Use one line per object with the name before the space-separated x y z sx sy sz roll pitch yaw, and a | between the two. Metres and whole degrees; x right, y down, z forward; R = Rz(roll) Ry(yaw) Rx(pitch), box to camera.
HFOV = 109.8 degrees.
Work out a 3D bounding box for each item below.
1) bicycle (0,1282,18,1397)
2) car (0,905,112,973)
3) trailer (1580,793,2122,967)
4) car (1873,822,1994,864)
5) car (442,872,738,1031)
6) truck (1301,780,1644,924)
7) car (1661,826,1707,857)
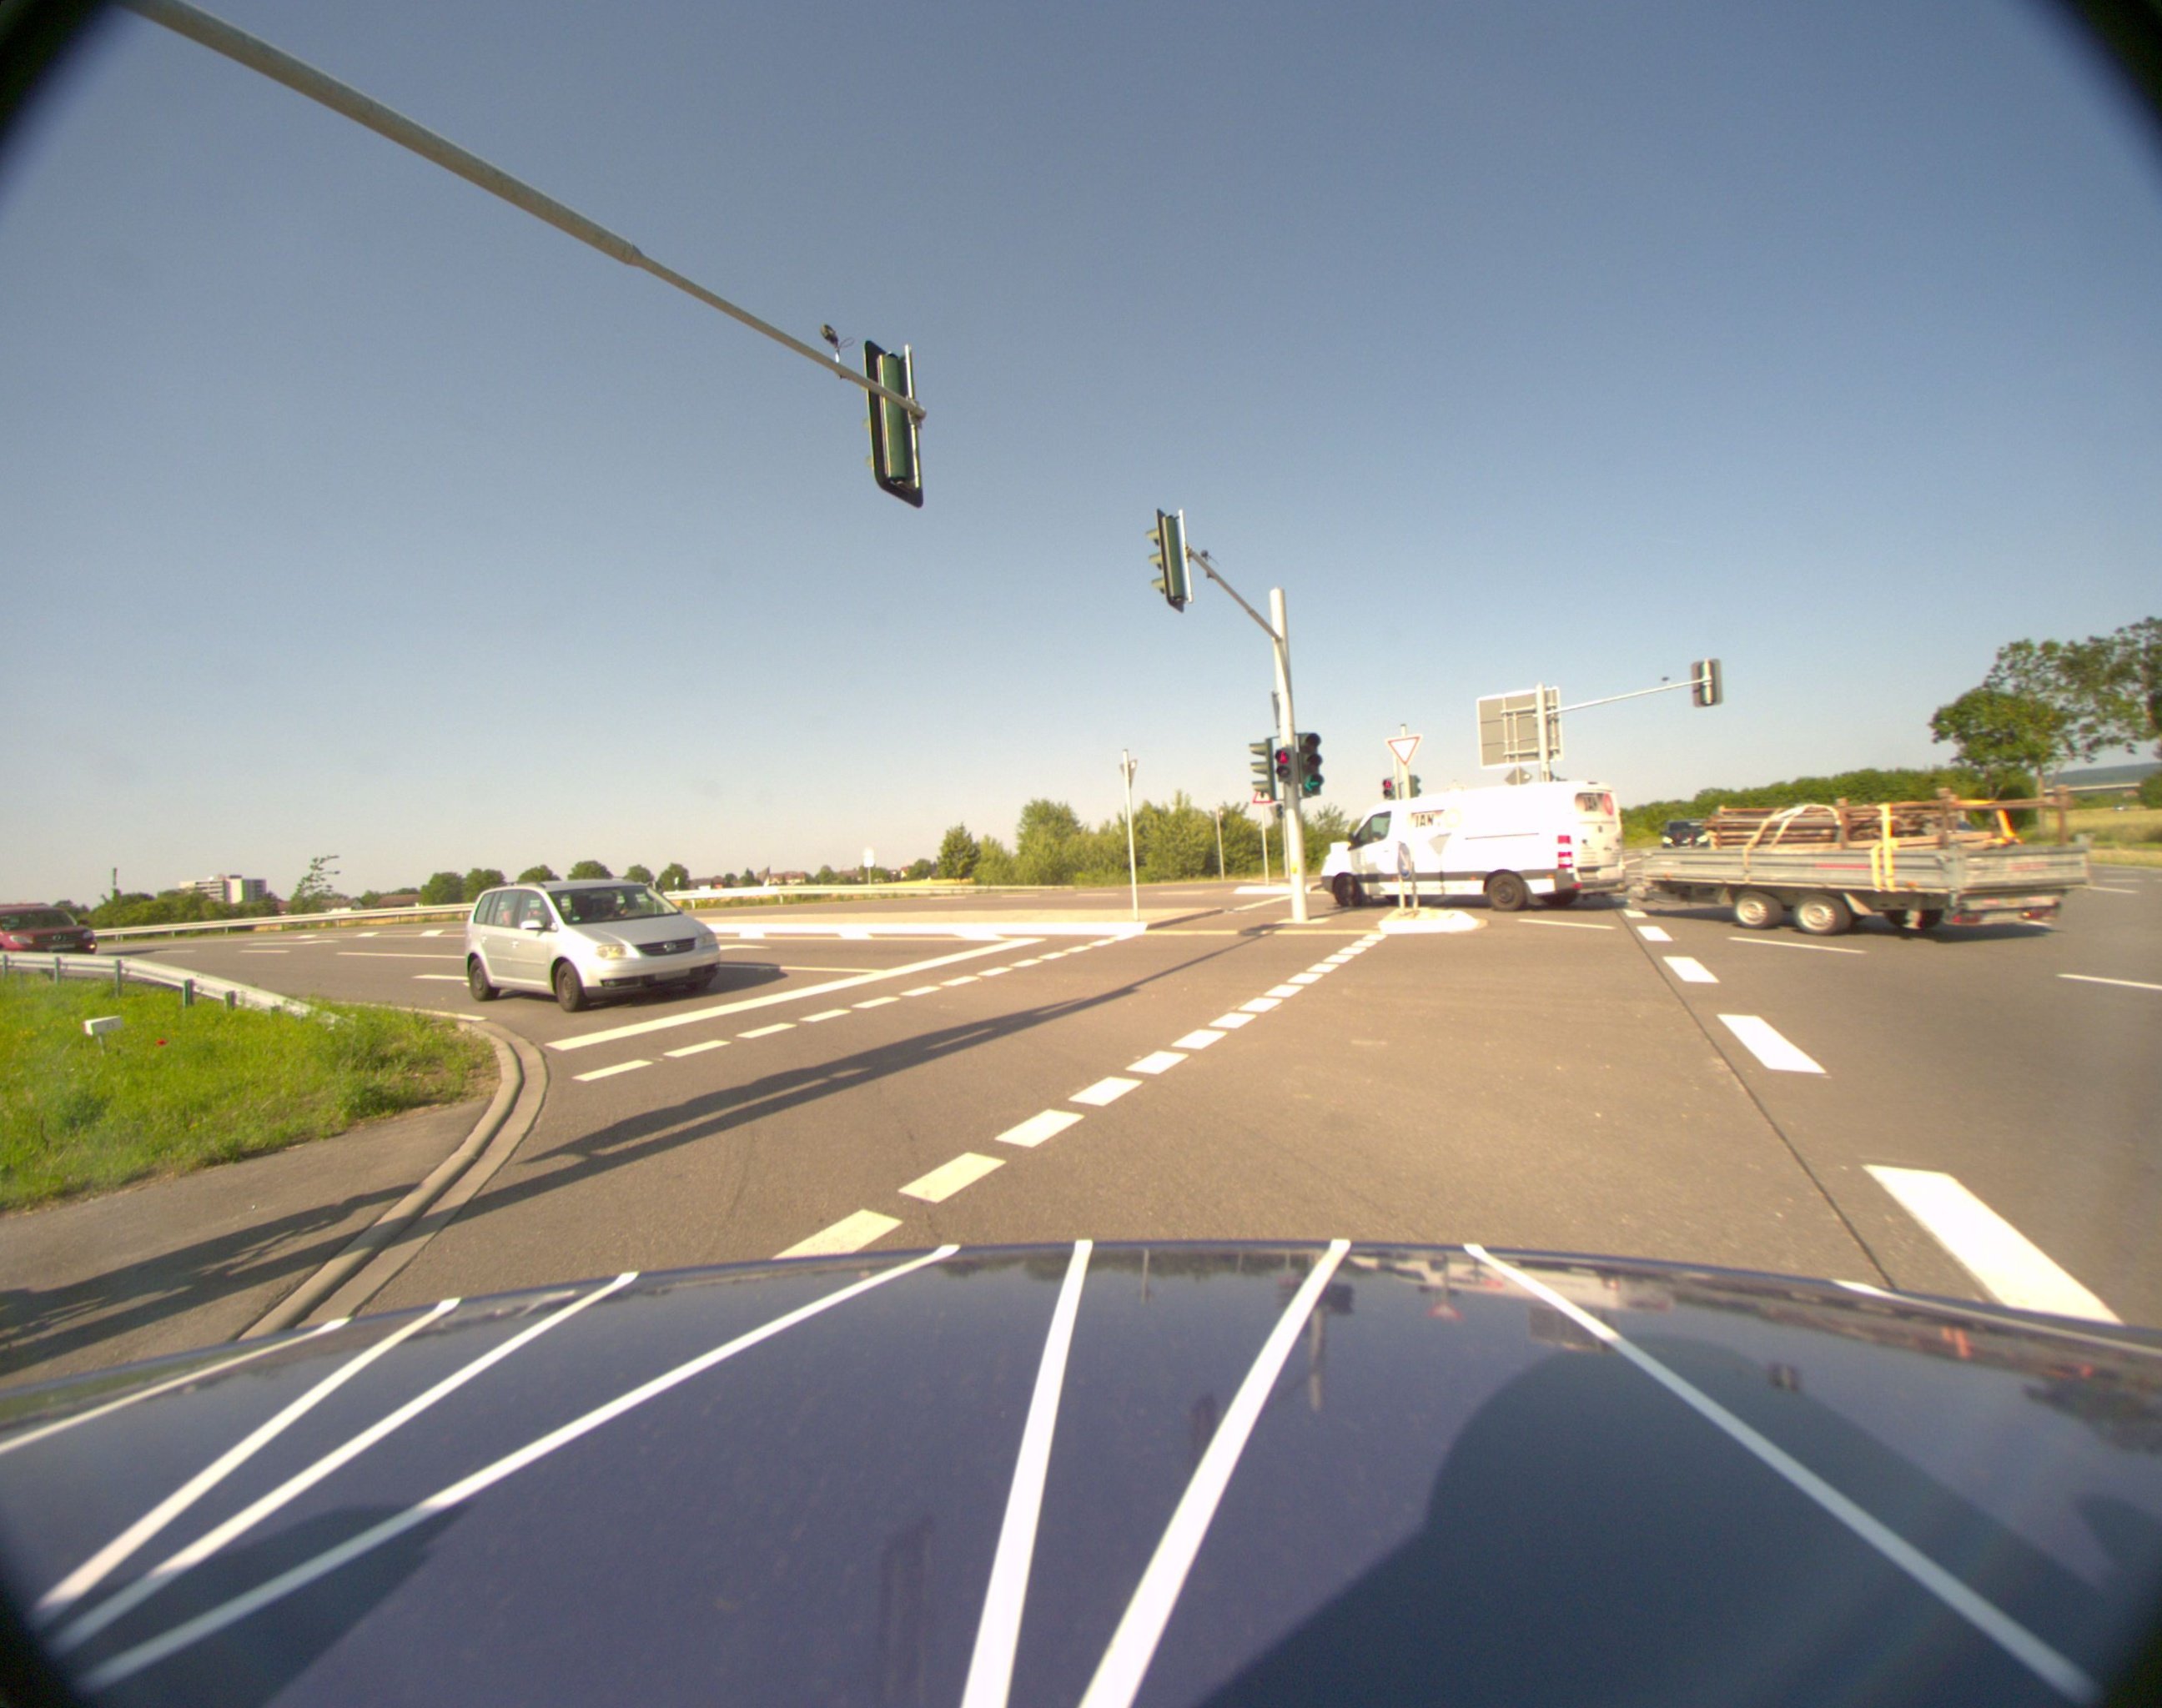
bicycle | -4.697 1.435 2.111 1.945 1.145 0.680 -7 2 -14
car | -33.072 2.690 23.893 4.689 1.826 1.696 -4 0 19
trailer | 9.763 0.257 10.448 1.981 1.728 5.008 -3 0 -8
car | 30.753 -0.410 27.586 1.630 1.369 4.430 -1 1 30
car | -6.787 1.205 10.382 4.204 1.685 1.759 -3 1 33
truck | 7.651 -0.031 15.816 2.074 2.391 6.185 -3 1 -28
car | 32.523 -0.687 40.941 1.858 1.533 4.008 -3 0 40
